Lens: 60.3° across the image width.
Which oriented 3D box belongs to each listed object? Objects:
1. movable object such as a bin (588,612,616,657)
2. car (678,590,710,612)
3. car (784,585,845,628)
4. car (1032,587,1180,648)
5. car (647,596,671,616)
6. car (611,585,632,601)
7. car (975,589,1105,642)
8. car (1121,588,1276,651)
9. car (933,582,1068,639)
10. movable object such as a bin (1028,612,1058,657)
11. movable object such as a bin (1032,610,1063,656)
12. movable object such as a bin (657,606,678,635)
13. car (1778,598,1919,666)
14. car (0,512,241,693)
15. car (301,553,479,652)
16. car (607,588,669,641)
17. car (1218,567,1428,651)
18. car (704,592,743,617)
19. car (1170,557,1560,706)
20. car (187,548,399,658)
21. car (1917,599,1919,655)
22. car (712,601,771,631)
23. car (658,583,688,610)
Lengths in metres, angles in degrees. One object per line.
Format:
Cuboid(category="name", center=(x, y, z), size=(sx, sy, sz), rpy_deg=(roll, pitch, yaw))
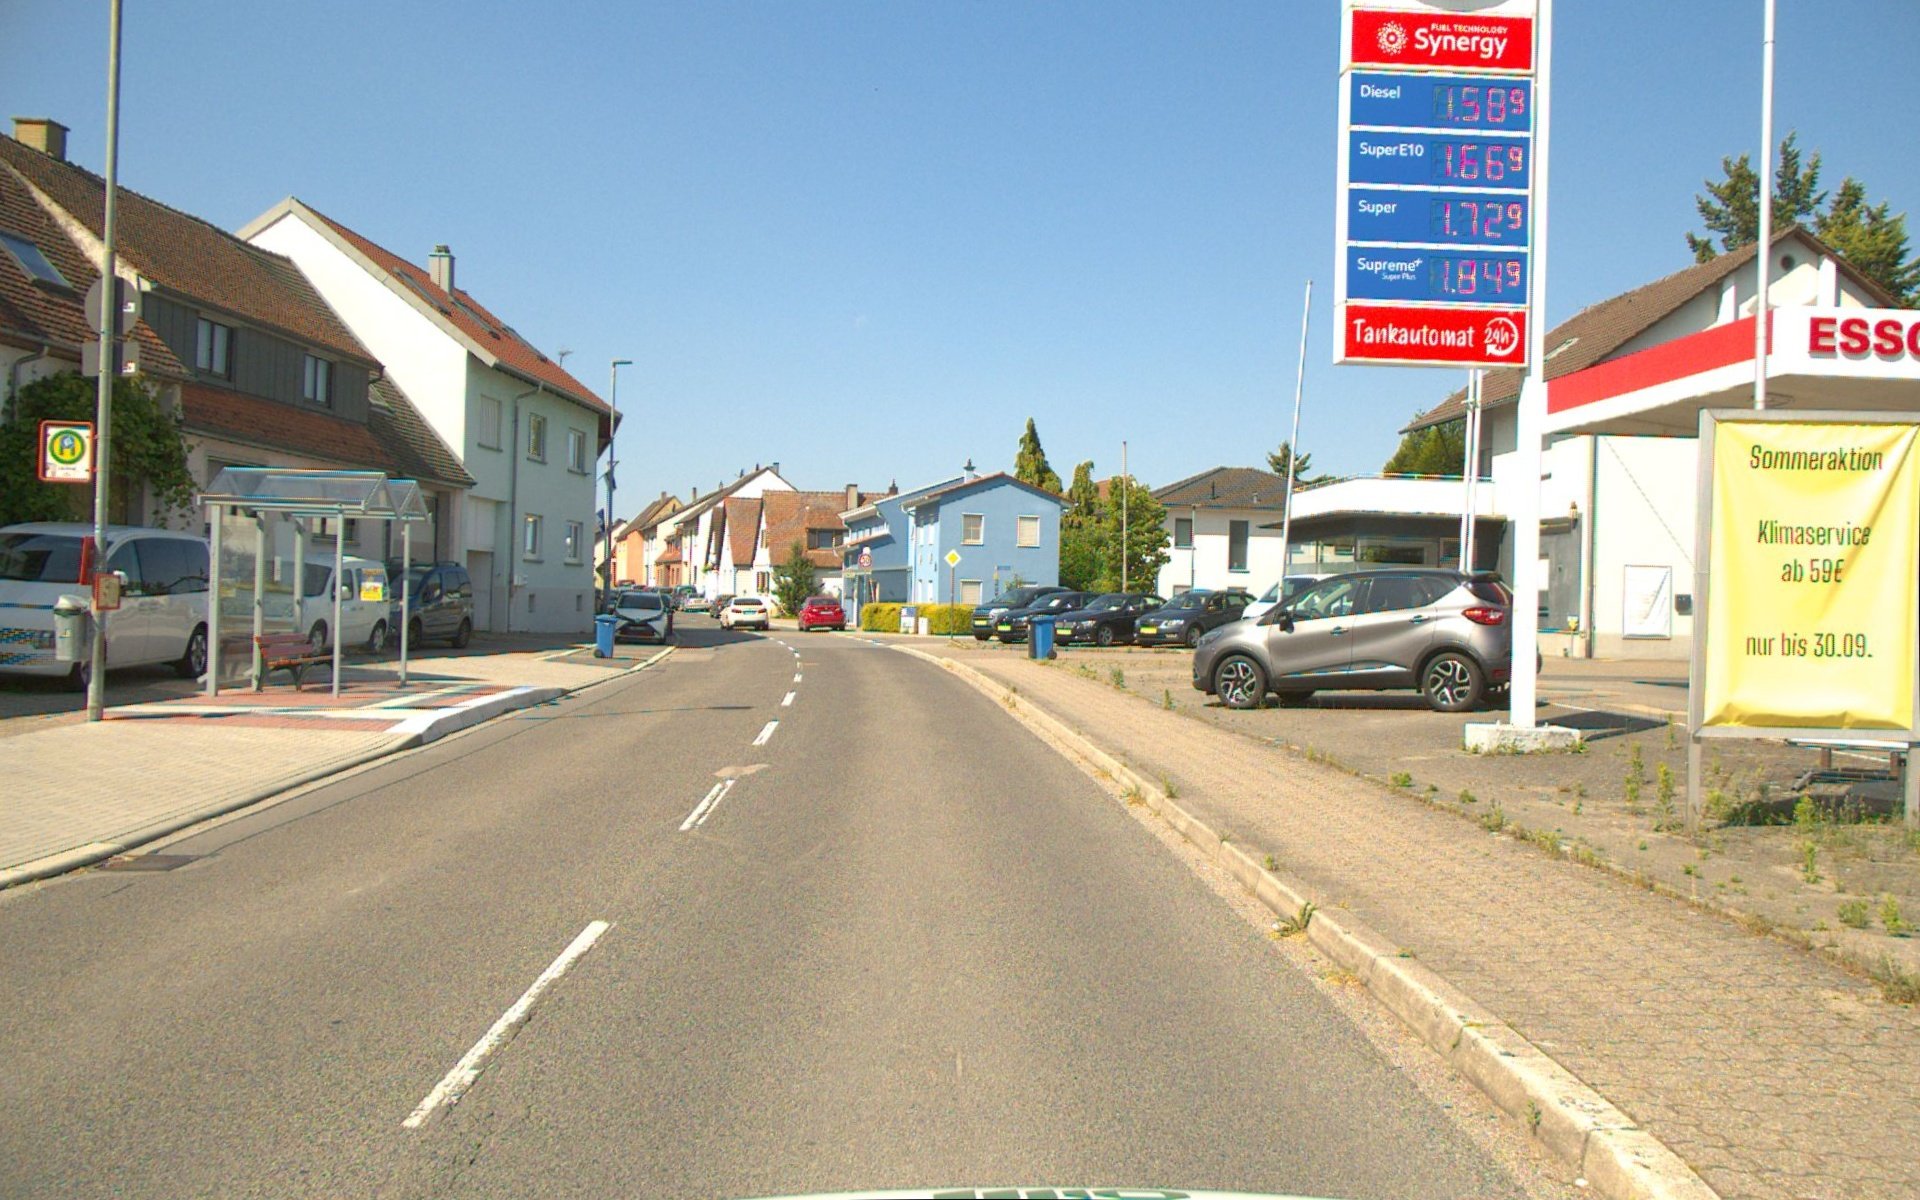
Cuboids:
Cuboid(category="movable object such as a bin", center=(-7.944, 0.768, 36.710), size=(0.548, 0.953, 0.513), rpy_deg=(3, -1, -13))
Cuboid(category="car", center=(-18.933, 0.070, 117.576), size=(1.678, 1.523, 3.435), rpy_deg=(2, 0, -18))
Cuboid(category="car", center=(-6.289, 0.248, 71.020), size=(1.706, 1.520, 4.334), rpy_deg=(-1, 4, -18))
Cuboid(category="car", center=(4.083, 0.452, 45.682), size=(1.950, 1.593, 4.213), rpy_deg=(0, 0, 42))
Cuboid(category="car", center=(-24.160, 0.461, 132.725), size=(1.398, 1.542, 3.287), rpy_deg=(2, 0, -18))
Cuboid(category="car", center=(-32.338, -0.687, 158.026), size=(1.738, 1.458, 3.434), rpy_deg=(1, 0, -17))
Cuboid(category="car", center=(2.350, 0.429, 47.975), size=(1.720, 1.472, 3.849), rpy_deg=(0, 0, 42))
Cuboid(category="car", center=(6.400, 0.488, 44.135), size=(1.951, 1.578, 4.287), rpy_deg=(0, 0, 44))
Cuboid(category="car", center=(1.262, 0.305, 50.481), size=(4.081, 1.682, 1.802), rpy_deg=(0, 0, -44))
Cuboid(category="movable object such as a bin", center=(1.790, 0.745, 35.718), size=(0.548, 0.953, 0.513), rpy_deg=(0, 0, -13))
Cuboid(category="movable object such as a bin", center=(1.863, 0.702, 35.166), size=(0.548, 0.955, 0.513), rpy_deg=(0, 0, -13))
Cuboid(category="movable object such as a bin", center=(-10.302, 0.725, 58.201), size=(0.543, 0.944, 0.821), rpy_deg=(5, -1, -17))
Cuboid(category="car", center=(21.110, 0.726, 37.818), size=(3.984, 1.505, 1.809), rpy_deg=(1, 0, -7))
Cuboid(category="car", center=(-11.361, 0.030, 21.251), size=(2.083, 2.021, 5.262), rpy_deg=(1, -1, -3))
Cuboid(category="car", center=(-11.792, 0.048, 34.547), size=(1.798, 1.824, 4.345), rpy_deg=(4, 0, 5))
Cuboid(category="car", center=(-9.545, 0.433, 49.233), size=(1.653, 1.487, 3.641), rpy_deg=(2, -1, -10))
Cuboid(category="car", center=(9.385, 0.211, 42.664), size=(5.213, 2.049, 2.210), rpy_deg=(0, 0, -30))
Cuboid(category="car", center=(-14.546, 0.288, 101.642), size=(1.678, 1.458, 3.870), rpy_deg=(2, 0, -18))
Cuboid(category="car", center=(4.715, 0.380, 19.459), size=(4.095, 1.582, 1.769), rpy_deg=(-2, -1, 34))
Cuboid(category="car", center=(-11.911, 0.066, 29.878), size=(1.927, 1.805, 4.278), rpy_deg=(1, -1, 2))
Cuboid(category="car", center=(27.361, 0.800, 43.027), size=(3.979, 1.505, 1.811), rpy_deg=(3, -1, 21))
Cuboid(category="car", center=(-9.826, 0.715, 74.072), size=(1.962, 1.311, 3.980), rpy_deg=(1, 0, -17))
Cuboid(category="car", center=(-21.219, -0.256, 122.194), size=(1.624, 1.943, 3.607), rpy_deg=(2, 0, -18))
